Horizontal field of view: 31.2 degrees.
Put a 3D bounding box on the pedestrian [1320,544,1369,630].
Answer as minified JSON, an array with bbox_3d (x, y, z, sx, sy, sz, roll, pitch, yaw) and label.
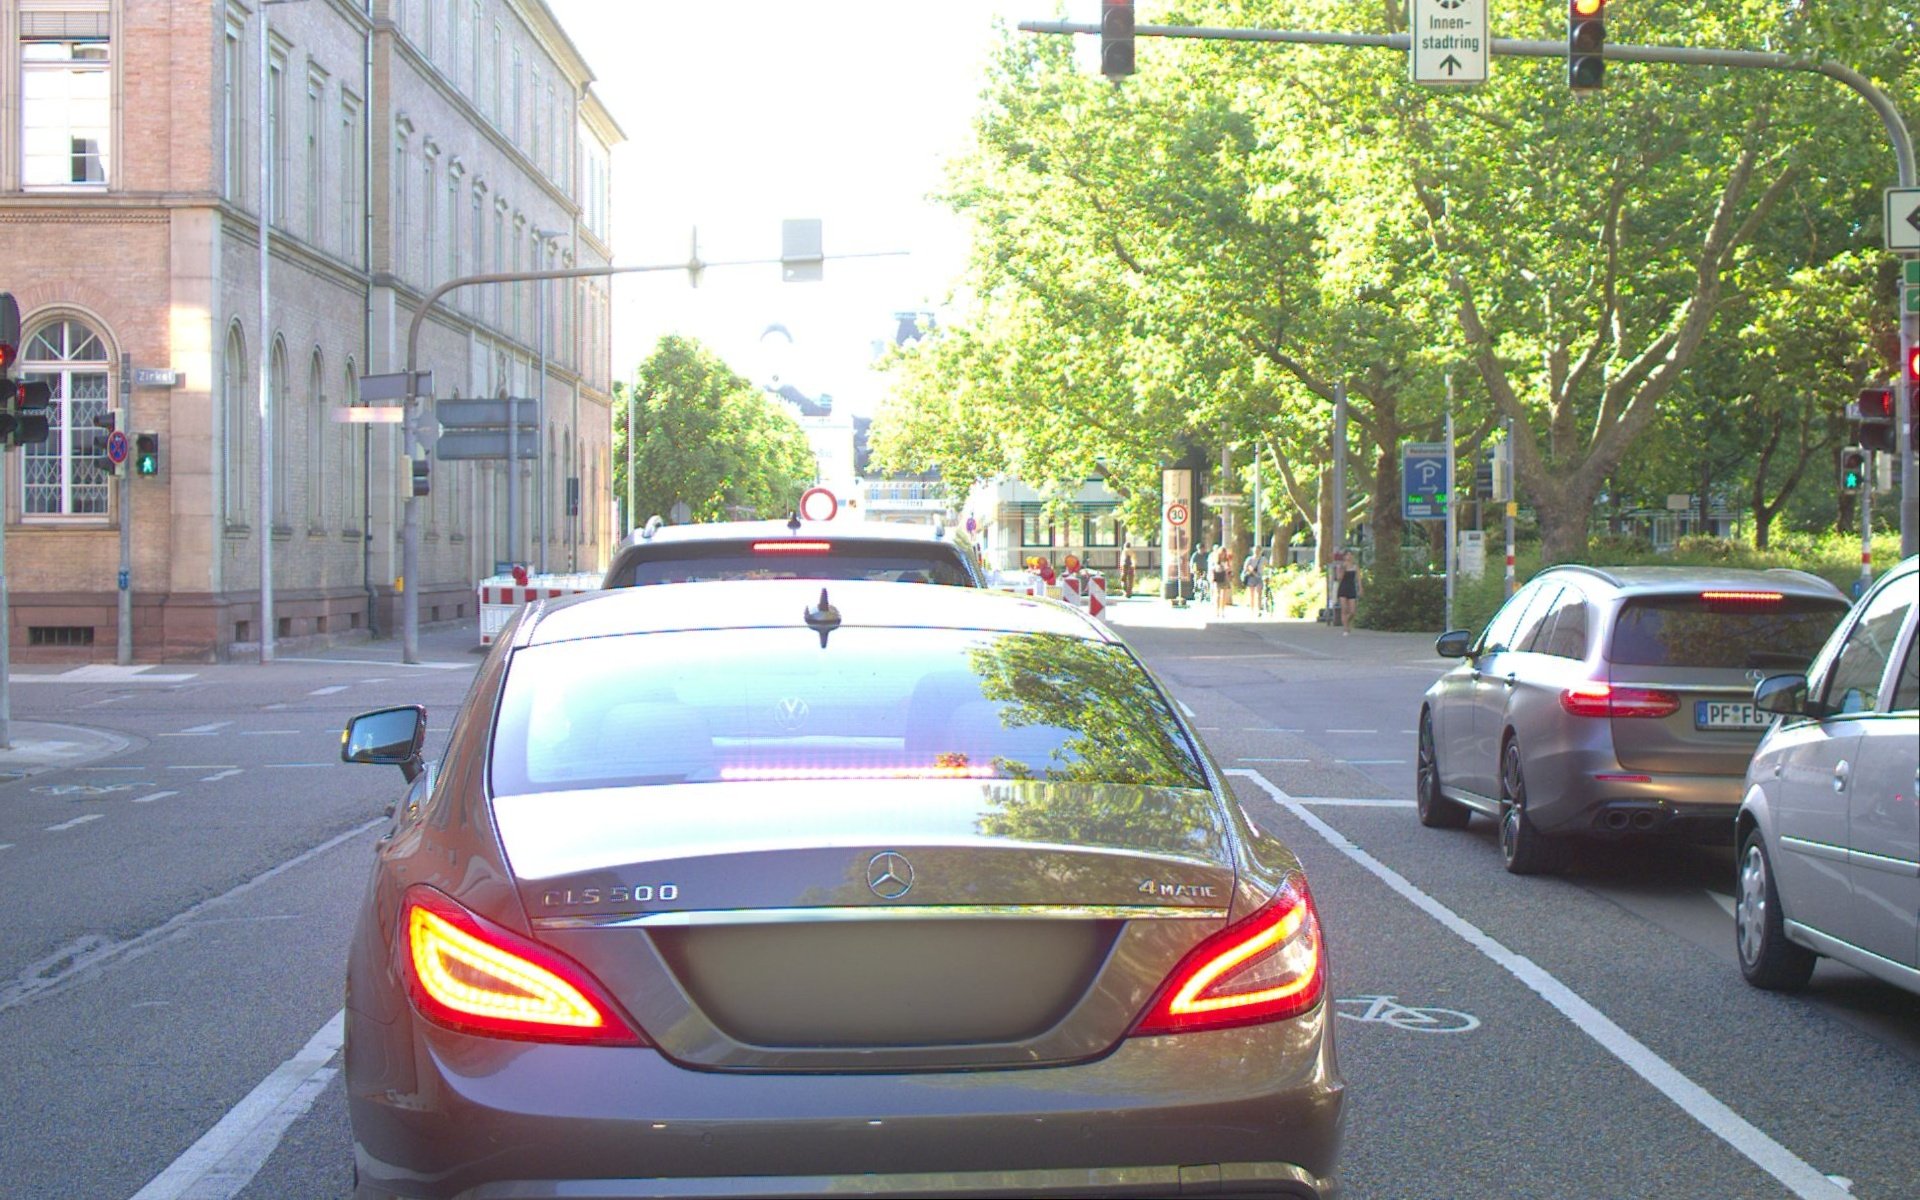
[{"bbox_3d":[7.217,-0.244,64.494,0.830,1.601,0.651,1,1,-1],"label":"pedestrian"}]

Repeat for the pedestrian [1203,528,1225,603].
[{"bbox_3d":[6.885,-0.934,93.265,0.539,2.007,0.474,1,0,-1],"label":"pedestrian"}]

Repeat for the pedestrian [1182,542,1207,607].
[{"bbox_3d":[6.597,-0.717,96.797,0.611,1.815,0.932,1,1,-1],"label":"pedestrian"}]

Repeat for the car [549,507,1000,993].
[{"bbox_3d":[-0.719,0.481,13.641,1.517,1.641,3.881,1,1,-3],"label":"car"}]

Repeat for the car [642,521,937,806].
[{"bbox_3d":[-1.075,0.360,23.246,1.820,1.756,4.000,0,1,-1],"label":"car"}]

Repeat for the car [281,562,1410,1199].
[{"bbox_3d":[-0.455,0.665,7.651,1.803,1.451,4.352,0,1,-8],"label":"car"}]

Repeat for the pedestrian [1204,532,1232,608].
[{"bbox_3d":[6.202,-0.716,82.664,0.603,1.815,0.651,1,1,-1],"label":"pedestrian"}]

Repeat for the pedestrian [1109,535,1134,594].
[{"bbox_3d":[5.053,-1.113,107.469,0.701,1.831,0.737,0,1,-3],"label":"pedestrian"}]

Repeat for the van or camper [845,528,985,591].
[{"bbox_3d":[-1.439,-1.288,108.536,1.994,1.935,4.593,0,1,-39],"label":"van or camper"}]

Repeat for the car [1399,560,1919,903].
[{"bbox_3d":[3.531,0.557,17.535,1.913,1.459,4.669,1,1,-1],"label":"car"}]

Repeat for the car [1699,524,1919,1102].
[{"bbox_3d":[3.556,0.596,10.706,1.701,1.597,3.859,2,1,1],"label":"car"}]

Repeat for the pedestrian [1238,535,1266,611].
[{"bbox_3d":[7.018,-0.661,82.612,0.603,1.815,0.651,1,1,-1],"label":"pedestrian"}]
